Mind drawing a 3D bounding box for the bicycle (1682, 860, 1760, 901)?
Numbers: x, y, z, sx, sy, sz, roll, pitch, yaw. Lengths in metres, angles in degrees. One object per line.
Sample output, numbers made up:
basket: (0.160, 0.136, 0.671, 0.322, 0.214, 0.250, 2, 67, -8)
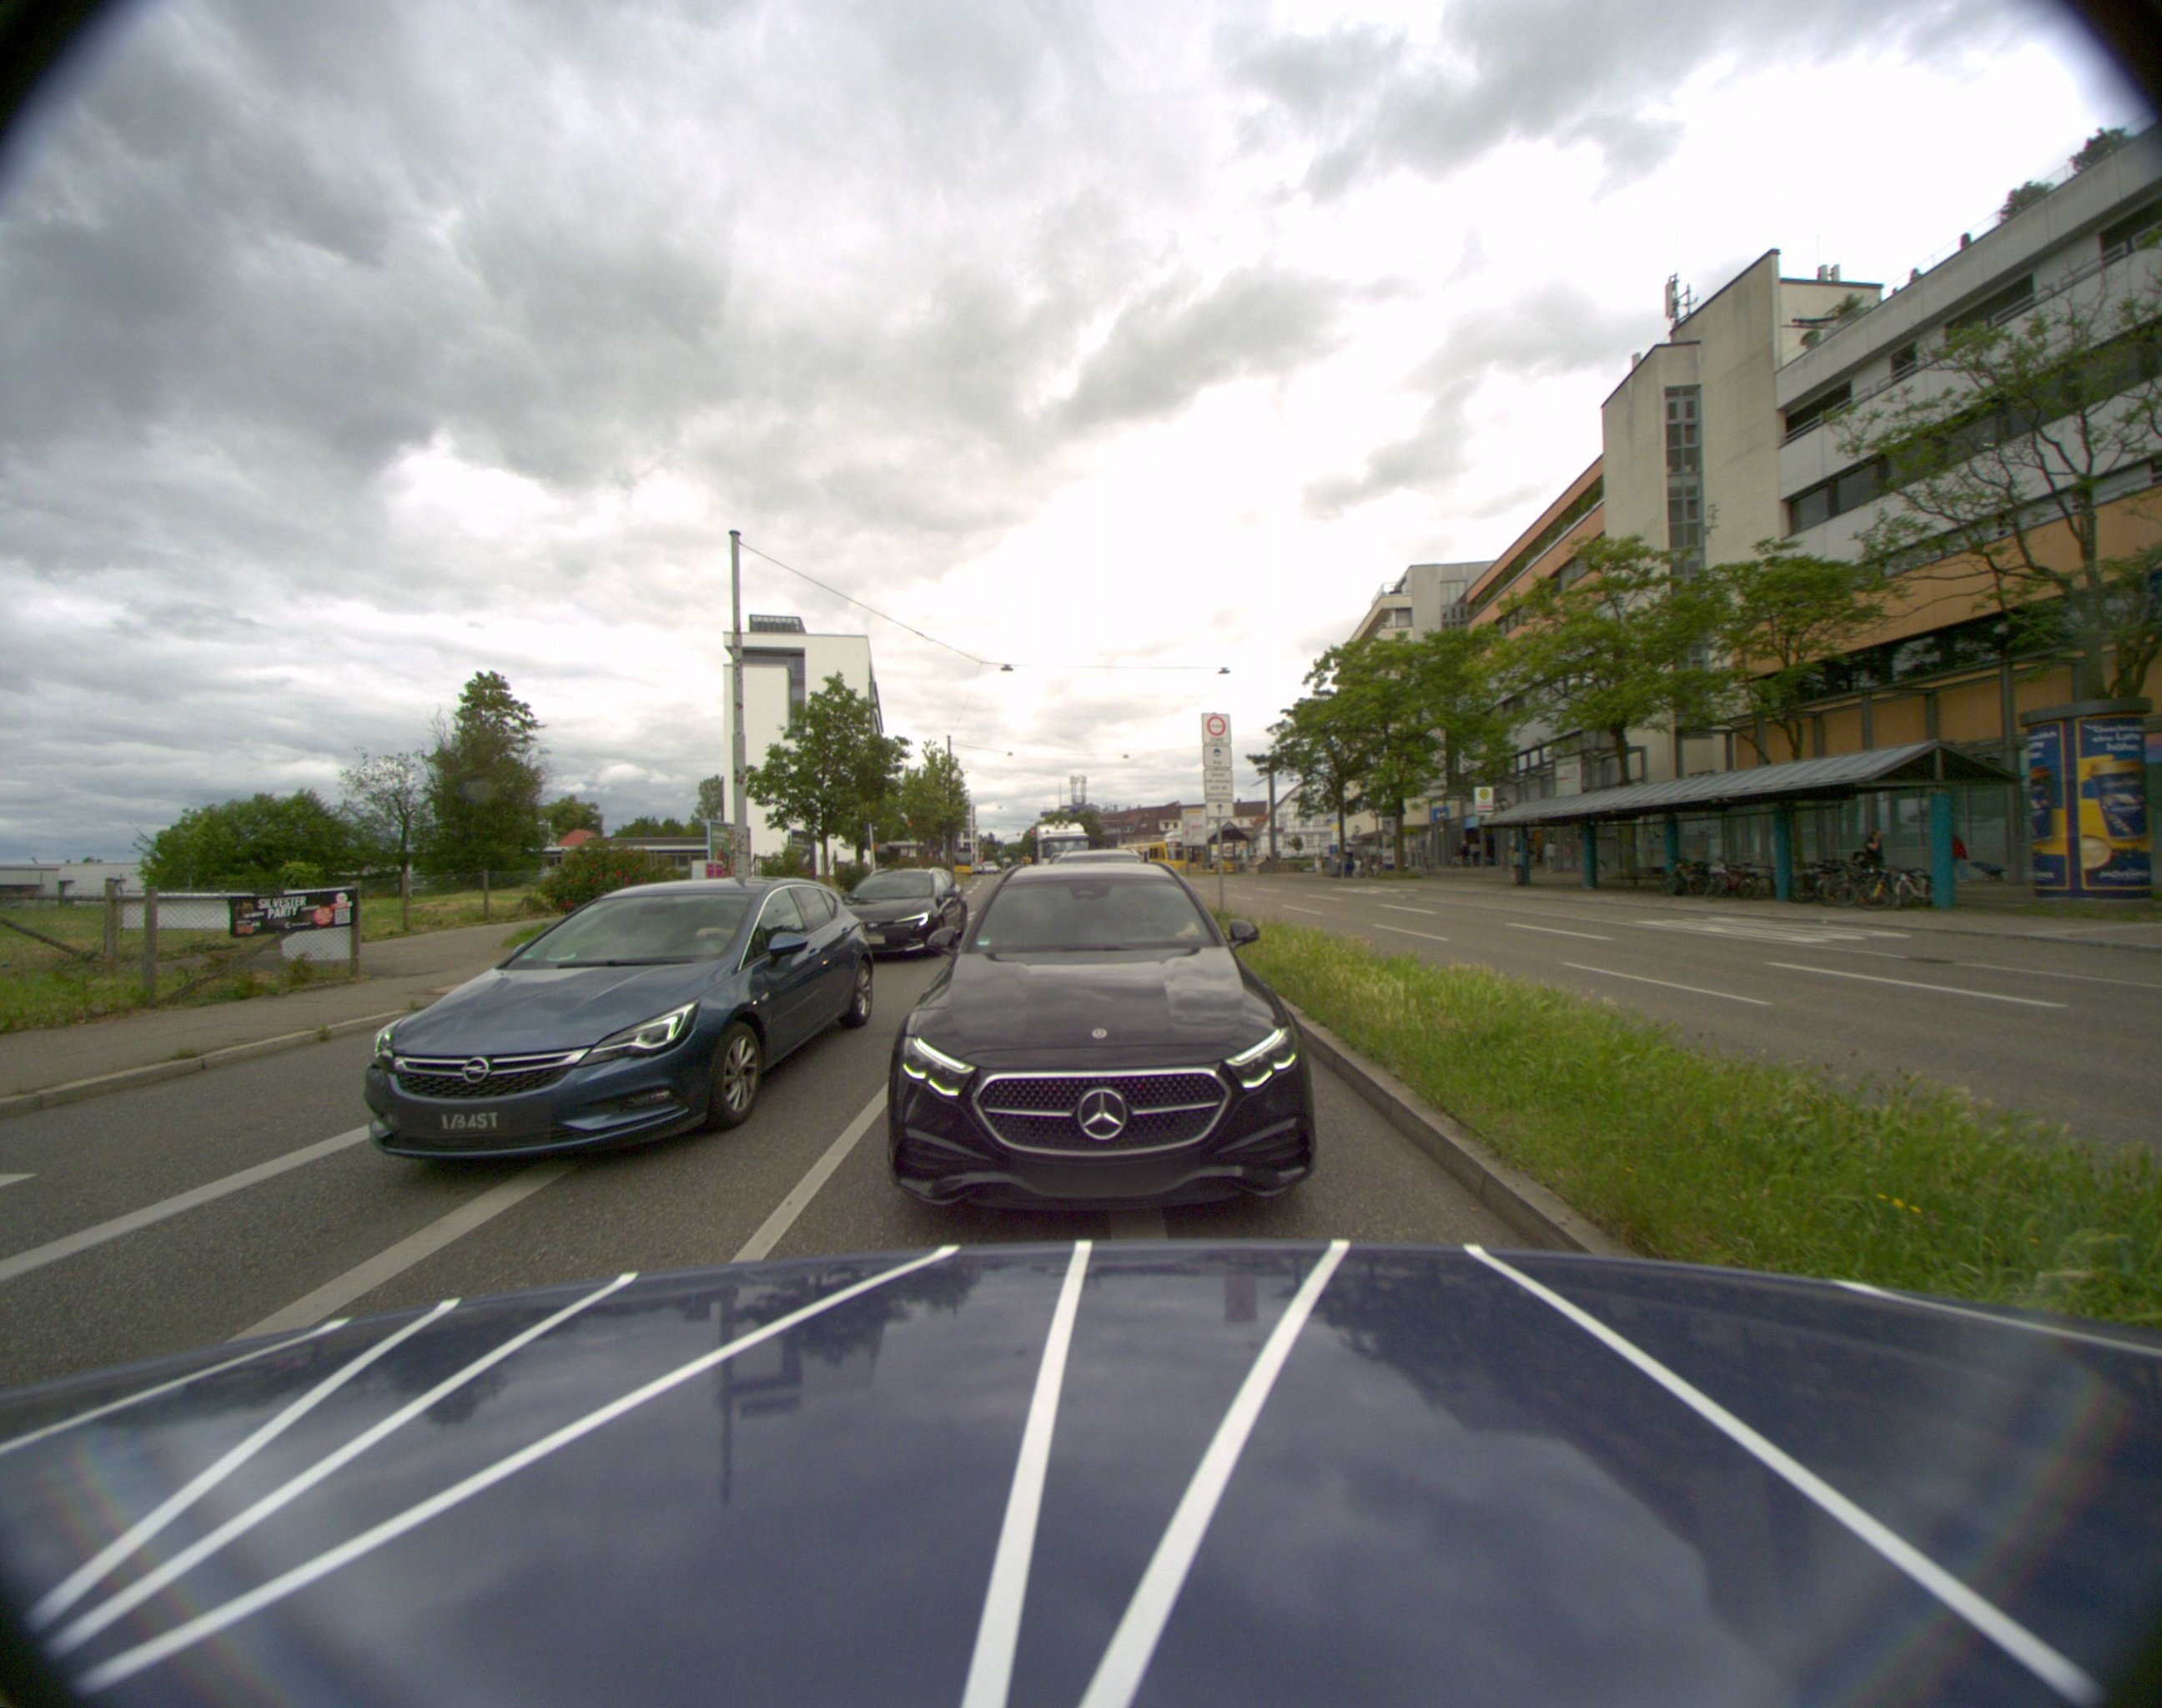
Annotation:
bicycle: (18.290, 0.740, 21.739, 1.735, 1.035, 0.549, -4, 1, -2)

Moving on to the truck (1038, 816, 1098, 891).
truck: (-0.759, -0.044, 36.722, 2.490, 3.258, 7.428, -1, 0, -4)

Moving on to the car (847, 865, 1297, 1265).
car: (-0.047, 0.883, 5.188, 1.793, 1.507, 4.249, -1, 0, 0)

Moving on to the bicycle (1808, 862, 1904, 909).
bicycle: (18.632, 0.749, 18.280, 1.735, 1.035, 0.549, -3, 1, -2)

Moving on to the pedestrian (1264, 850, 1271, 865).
pedestrian: (19.185, 0.374, 78.209, 0.577, 1.533, 0.583, -1, 1, -8)

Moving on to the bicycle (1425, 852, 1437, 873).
bicycle: (19.494, 0.466, 42.382, 0.593, 1.119, 2.040, 0, 1, 24)

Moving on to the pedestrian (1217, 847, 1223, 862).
pedestrian: (18.792, 0.106, 102.692, 0.742, 2.002, 0.939, -1, 1, 11)

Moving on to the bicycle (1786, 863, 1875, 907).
bicycle: (19.032, 0.771, 19.305, 1.735, 1.035, 0.549, -2, 1, -2)

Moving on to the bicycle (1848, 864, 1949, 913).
bicycle: (18.692, 0.781, 17.395, 1.735, 1.035, 0.549, -2, 1, -2)

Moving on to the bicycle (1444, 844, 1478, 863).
bicycle: (27.765, -0.030, 55.548, 2.138, 1.358, 0.620, -2, 1, 26)

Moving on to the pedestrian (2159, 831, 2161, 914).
pedestrian: (21.657, 0.350, 14.664, 0.678, 1.640, 0.721, -2, 1, -3)

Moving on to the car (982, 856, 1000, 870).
car: (-11.172, 1.108, 94.566, 1.853, 1.606, 3.779, -3, 0, -11)

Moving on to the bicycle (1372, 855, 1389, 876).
bicycle: (16.409, 0.620, 41.643, 0.593, 1.071, 2.041, 0, 1, 29)

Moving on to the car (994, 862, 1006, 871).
car: (-16.406, 2.505, 154.093, 1.998, 1.674, 3.999, -2, 1, 1)

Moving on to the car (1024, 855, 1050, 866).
car: (-7.479, 1.124, 129.630, 4.003, 1.811, 1.997, -1, 1, -18)

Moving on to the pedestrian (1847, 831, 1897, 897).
pedestrian: (21.733, 0.271, 20.888, 0.531, 1.776, 0.770, -1, 1, -7)

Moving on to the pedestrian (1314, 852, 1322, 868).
pedestrian: (22.387, 0.544, 71.760, 0.577, 1.533, 0.583, -1, 1, -8)

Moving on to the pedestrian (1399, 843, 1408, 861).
pedestrian: (26.145, -0.153, 61.677, 0.555, 1.485, 0.454, -1, 1, 8)

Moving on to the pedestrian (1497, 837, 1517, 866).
pedestrian: (25.188, -0.168, 44.929, 0.765, 1.673, 0.752, -1, 1, 1)

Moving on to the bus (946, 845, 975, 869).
bus: (-15.211, 0.347, 95.049, 2.969, 2.616, 12.911, -2, 1, -11)

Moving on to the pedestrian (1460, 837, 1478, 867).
pedestrian: (24.419, -0.139, 47.792, 0.765, 1.835, 0.752, -1, 1, 1)

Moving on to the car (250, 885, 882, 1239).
car: (-2.908, 1.049, 5.525, 1.826, 1.402, 4.000, -2, 0, 0)

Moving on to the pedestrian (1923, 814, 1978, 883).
pedestrian: (25.973, -0.173, 22.705, 0.710, 2.002, 0.793, -2, 1, -10)

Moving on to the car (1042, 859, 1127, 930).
car: (0.051, 0.910, 18.907, 1.865, 1.520, 3.999, -1, 0, -1)

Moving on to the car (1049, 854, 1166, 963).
car: (0.399, 0.819, 13.480, 1.734, 1.601, 4.000, -2, 0, 0)

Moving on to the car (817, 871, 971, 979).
car: (-3.052, 1.091, 13.218, 1.665, 1.448, 3.921, -2, 0, 0)

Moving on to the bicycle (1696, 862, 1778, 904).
bicycle: (17.955, 0.787, 20.807, 1.735, 1.035, 0.549, -3, 1, -2)

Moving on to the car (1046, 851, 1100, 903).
car: (-0.359, 0.775, 28.343, 1.865, 1.773, 3.999, -1, 0, -2)

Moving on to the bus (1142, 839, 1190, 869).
bus: (8.709, 0.003, 79.012, 2.556, 2.966, 8.498, -1, 0, -11)

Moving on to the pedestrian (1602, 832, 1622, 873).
pedestrian: (26.067, -0.077, 37.283, 0.566, 2.002, 0.611, -1, 1, 6)

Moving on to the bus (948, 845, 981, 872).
bus: (-12.806, 0.392, 82.725, 2.969, 2.616, 12.137, -2, 1, -11)

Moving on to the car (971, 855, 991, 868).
car: (-15.740, 1.140, 120.291, 1.850, 1.875, 4.139, -3, 0, 10)

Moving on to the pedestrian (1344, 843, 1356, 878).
pedestrian: (17.746, 0.429, 50.122, 0.590, 2.294, 0.608, -1, 1, -2)

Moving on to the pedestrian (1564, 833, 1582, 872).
pedestrian: (25.428, -0.065, 39.244, 0.566, 2.002, 0.611, -1, 1, 6)

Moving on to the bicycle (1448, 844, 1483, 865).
bicycle: (27.002, 0.027, 53.396, 2.139, 1.367, 0.620, -2, 1, 18)

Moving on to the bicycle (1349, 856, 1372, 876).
bicycle: (15.487, 0.652, 42.014, 0.593, 1.071, 2.041, 0, 1, 38)

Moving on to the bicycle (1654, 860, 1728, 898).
bicycle: (18.212, 0.745, 22.700, 1.735, 1.035, 0.549, -3, 1, -2)

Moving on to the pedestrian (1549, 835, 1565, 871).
pedestrian: (24.106, -0.051, 38.485, 0.648, 1.799, 0.761, 0, 1, 34)

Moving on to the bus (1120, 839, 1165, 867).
bus: (6.945, -0.094, 87.948, 2.556, 2.966, 9.790, -1, 0, -11)

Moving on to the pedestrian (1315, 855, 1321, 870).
pedestrian: (18.587, 0.647, 59.581, 0.341, 1.172, 0.369, -1, 1, -9)
